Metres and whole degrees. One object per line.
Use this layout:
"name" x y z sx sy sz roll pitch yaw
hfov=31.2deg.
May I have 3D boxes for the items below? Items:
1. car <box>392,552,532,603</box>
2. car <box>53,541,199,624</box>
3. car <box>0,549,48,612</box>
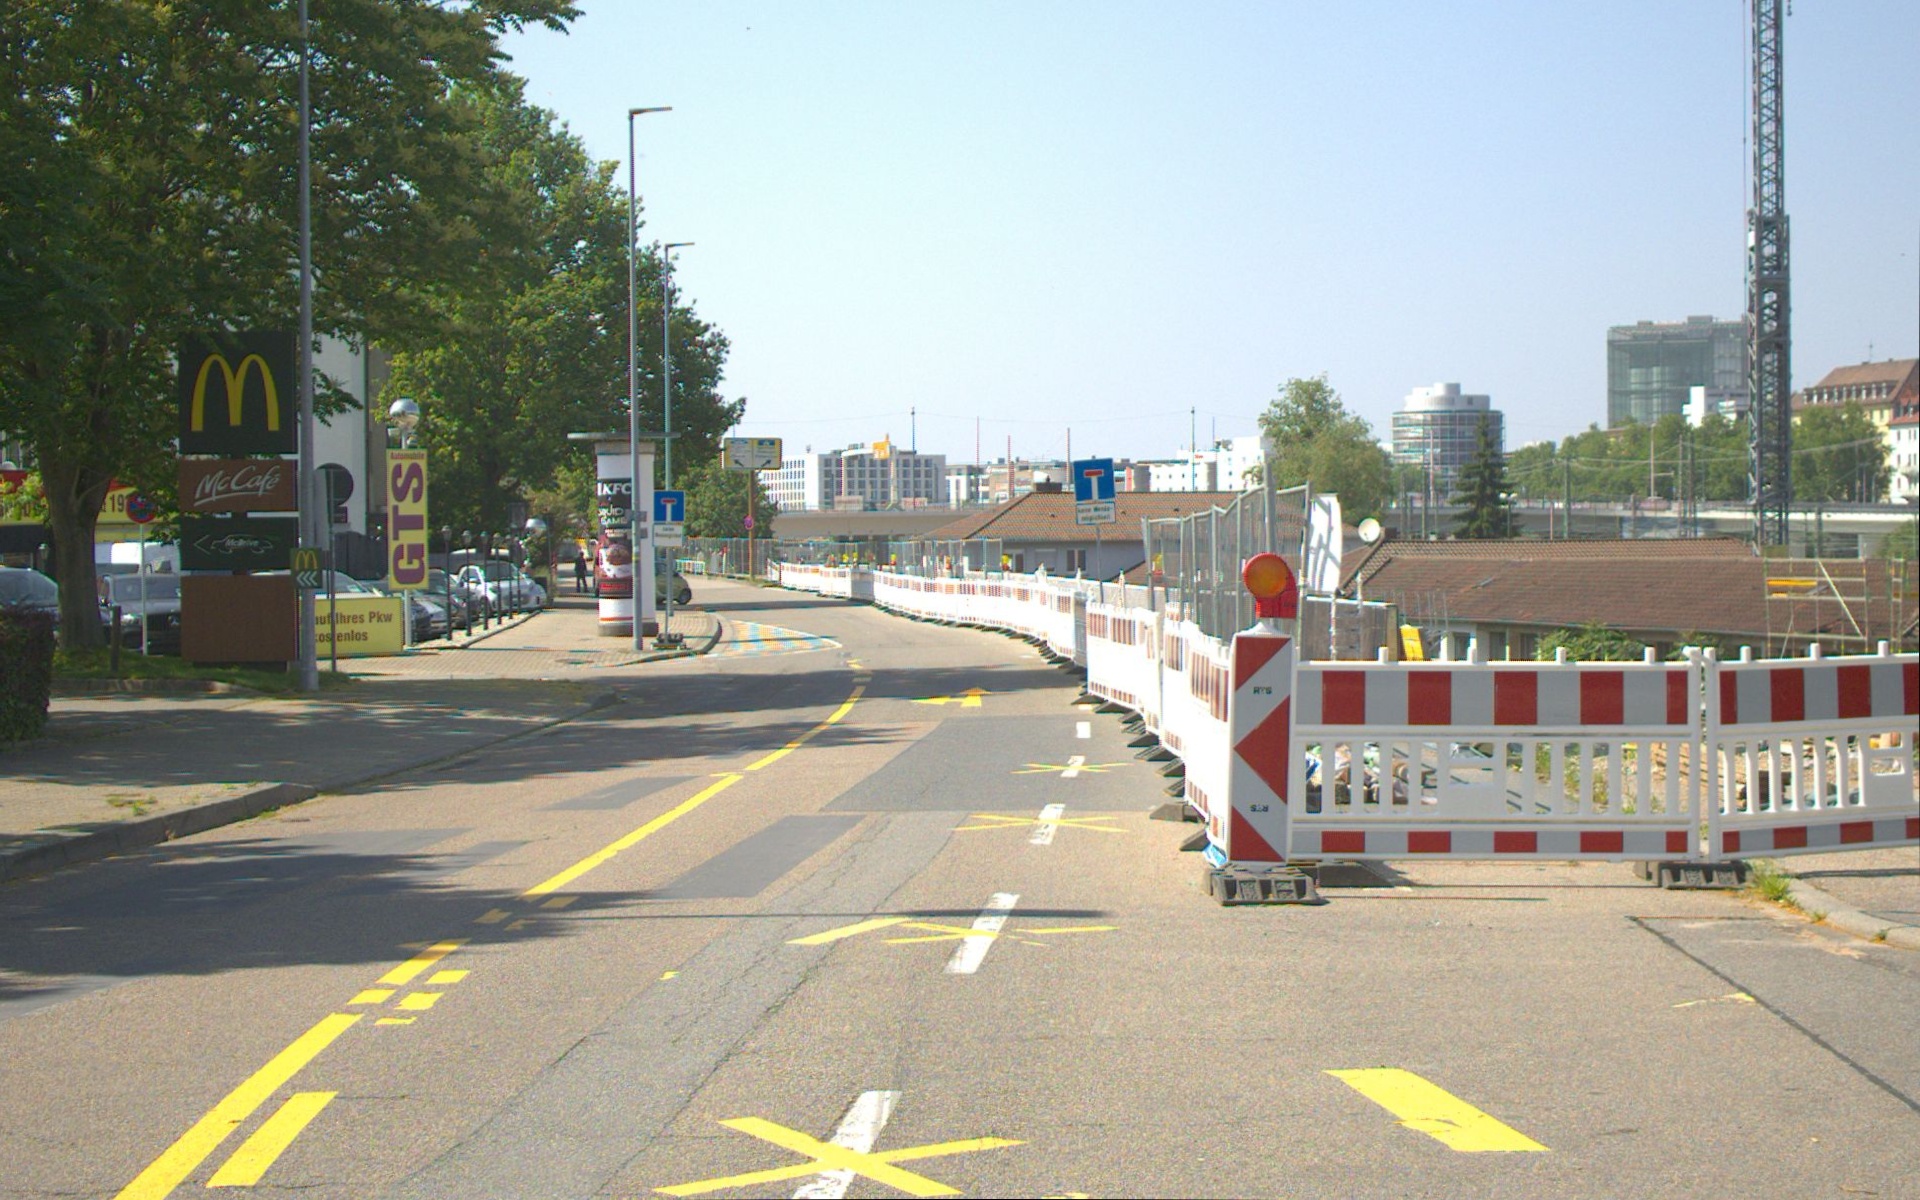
"car" -14.271 -0.645 98.593 3.677 1.416 1.572 0 1 11
"car" -19.576 -0.412 80.584 1.994 1.897 3.999 -1 1 -35
"car" -22.312 -0.454 78.989 1.567 1.416 3.687 -1 1 -33
